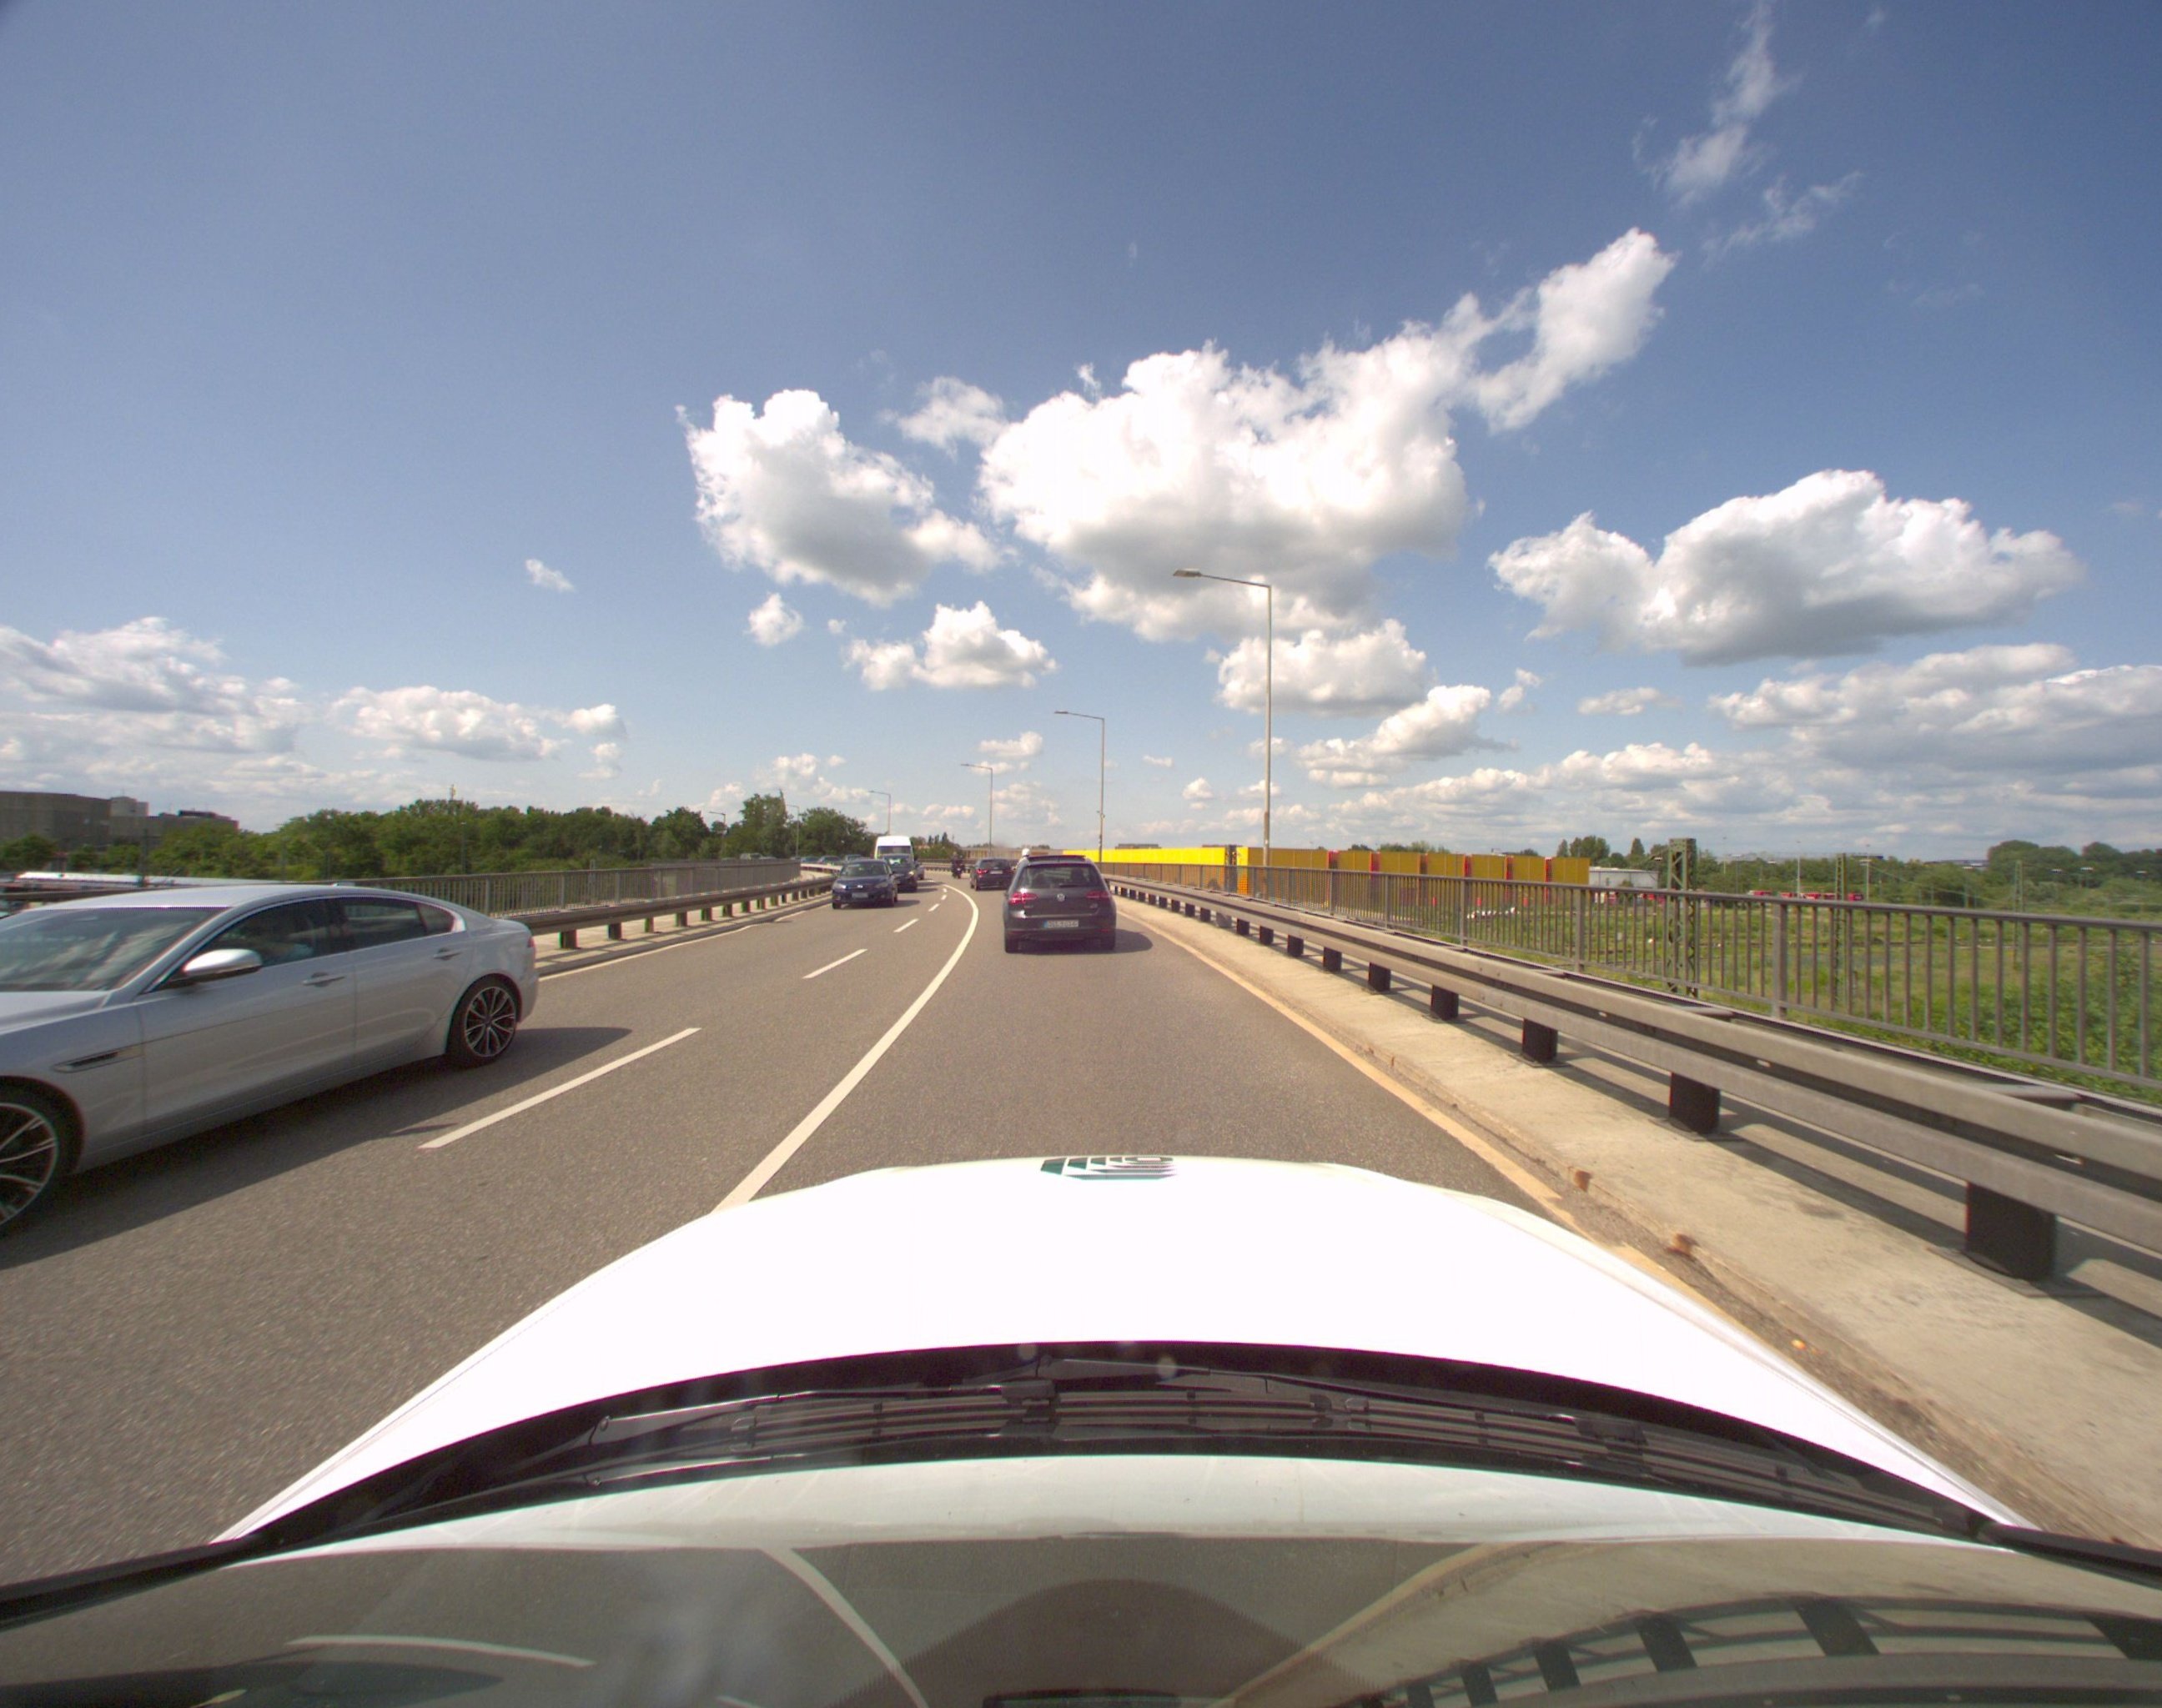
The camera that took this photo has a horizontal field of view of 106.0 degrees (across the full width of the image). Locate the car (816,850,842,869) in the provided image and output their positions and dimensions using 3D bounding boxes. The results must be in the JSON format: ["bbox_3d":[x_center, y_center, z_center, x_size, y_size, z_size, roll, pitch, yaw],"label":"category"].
[{"bbox_3d":[-23.758,0.501,76.736,1.692,1.596,4.247,-2,1,-25],"label":"car"}]

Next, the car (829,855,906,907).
[{"bbox_3d":[-6.645,0.782,25.739,1.657,1.454,4.317,-2,0,-6],"label":"car"}]

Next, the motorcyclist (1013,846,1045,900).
[{"bbox_3d":[-1.622,0.570,25.103,0.964,1.620,1.123,0,0,-5],"label":"motorcyclist"}]

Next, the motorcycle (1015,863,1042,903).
[{"bbox_3d":[-1.625,0.858,25.000,0.788,1.132,2.395,0,0,-5],"label":"motorcycle"}]

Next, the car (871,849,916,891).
[{"bbox_3d":[-7.992,0.663,34.949,1.719,1.632,4.410,-2,0,-12],"label":"car"}]

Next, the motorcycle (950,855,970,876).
[{"bbox_3d":[-7.548,0.720,50.648,0.890,1.247,2.385,0,0,-18],"label":"motorcycle"}]

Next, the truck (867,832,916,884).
[{"bbox_3d":[-10.053,0.171,42.889,1.999,2.507,5.911,-2,1,-18],"label":"truck"}]

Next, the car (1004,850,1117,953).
[{"bbox_3d":[-0.349,0.699,13.882,1.638,1.479,3.869,-1,0,-2],"label":"car"}]

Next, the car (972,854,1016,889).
[{"bbox_3d":[-3.754,0.743,35.591,1.678,1.388,3.734,-1,-1,-4],"label":"car"}]

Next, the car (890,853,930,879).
[{"bbox_3d":[-10.680,0.712,50.642,1.772,1.460,4.269,-2,0,-20],"label":"car"}]

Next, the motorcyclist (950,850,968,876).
[{"bbox_3d":[-7.617,0.547,50.844,0.968,1.596,1.118,0,0,-18],"label":"motorcyclist"}]

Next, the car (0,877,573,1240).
[{"bbox_3d":[-5.353,0.909,4.821,1.788,1.375,4.579,-1,0,0],"label":"car"}]
